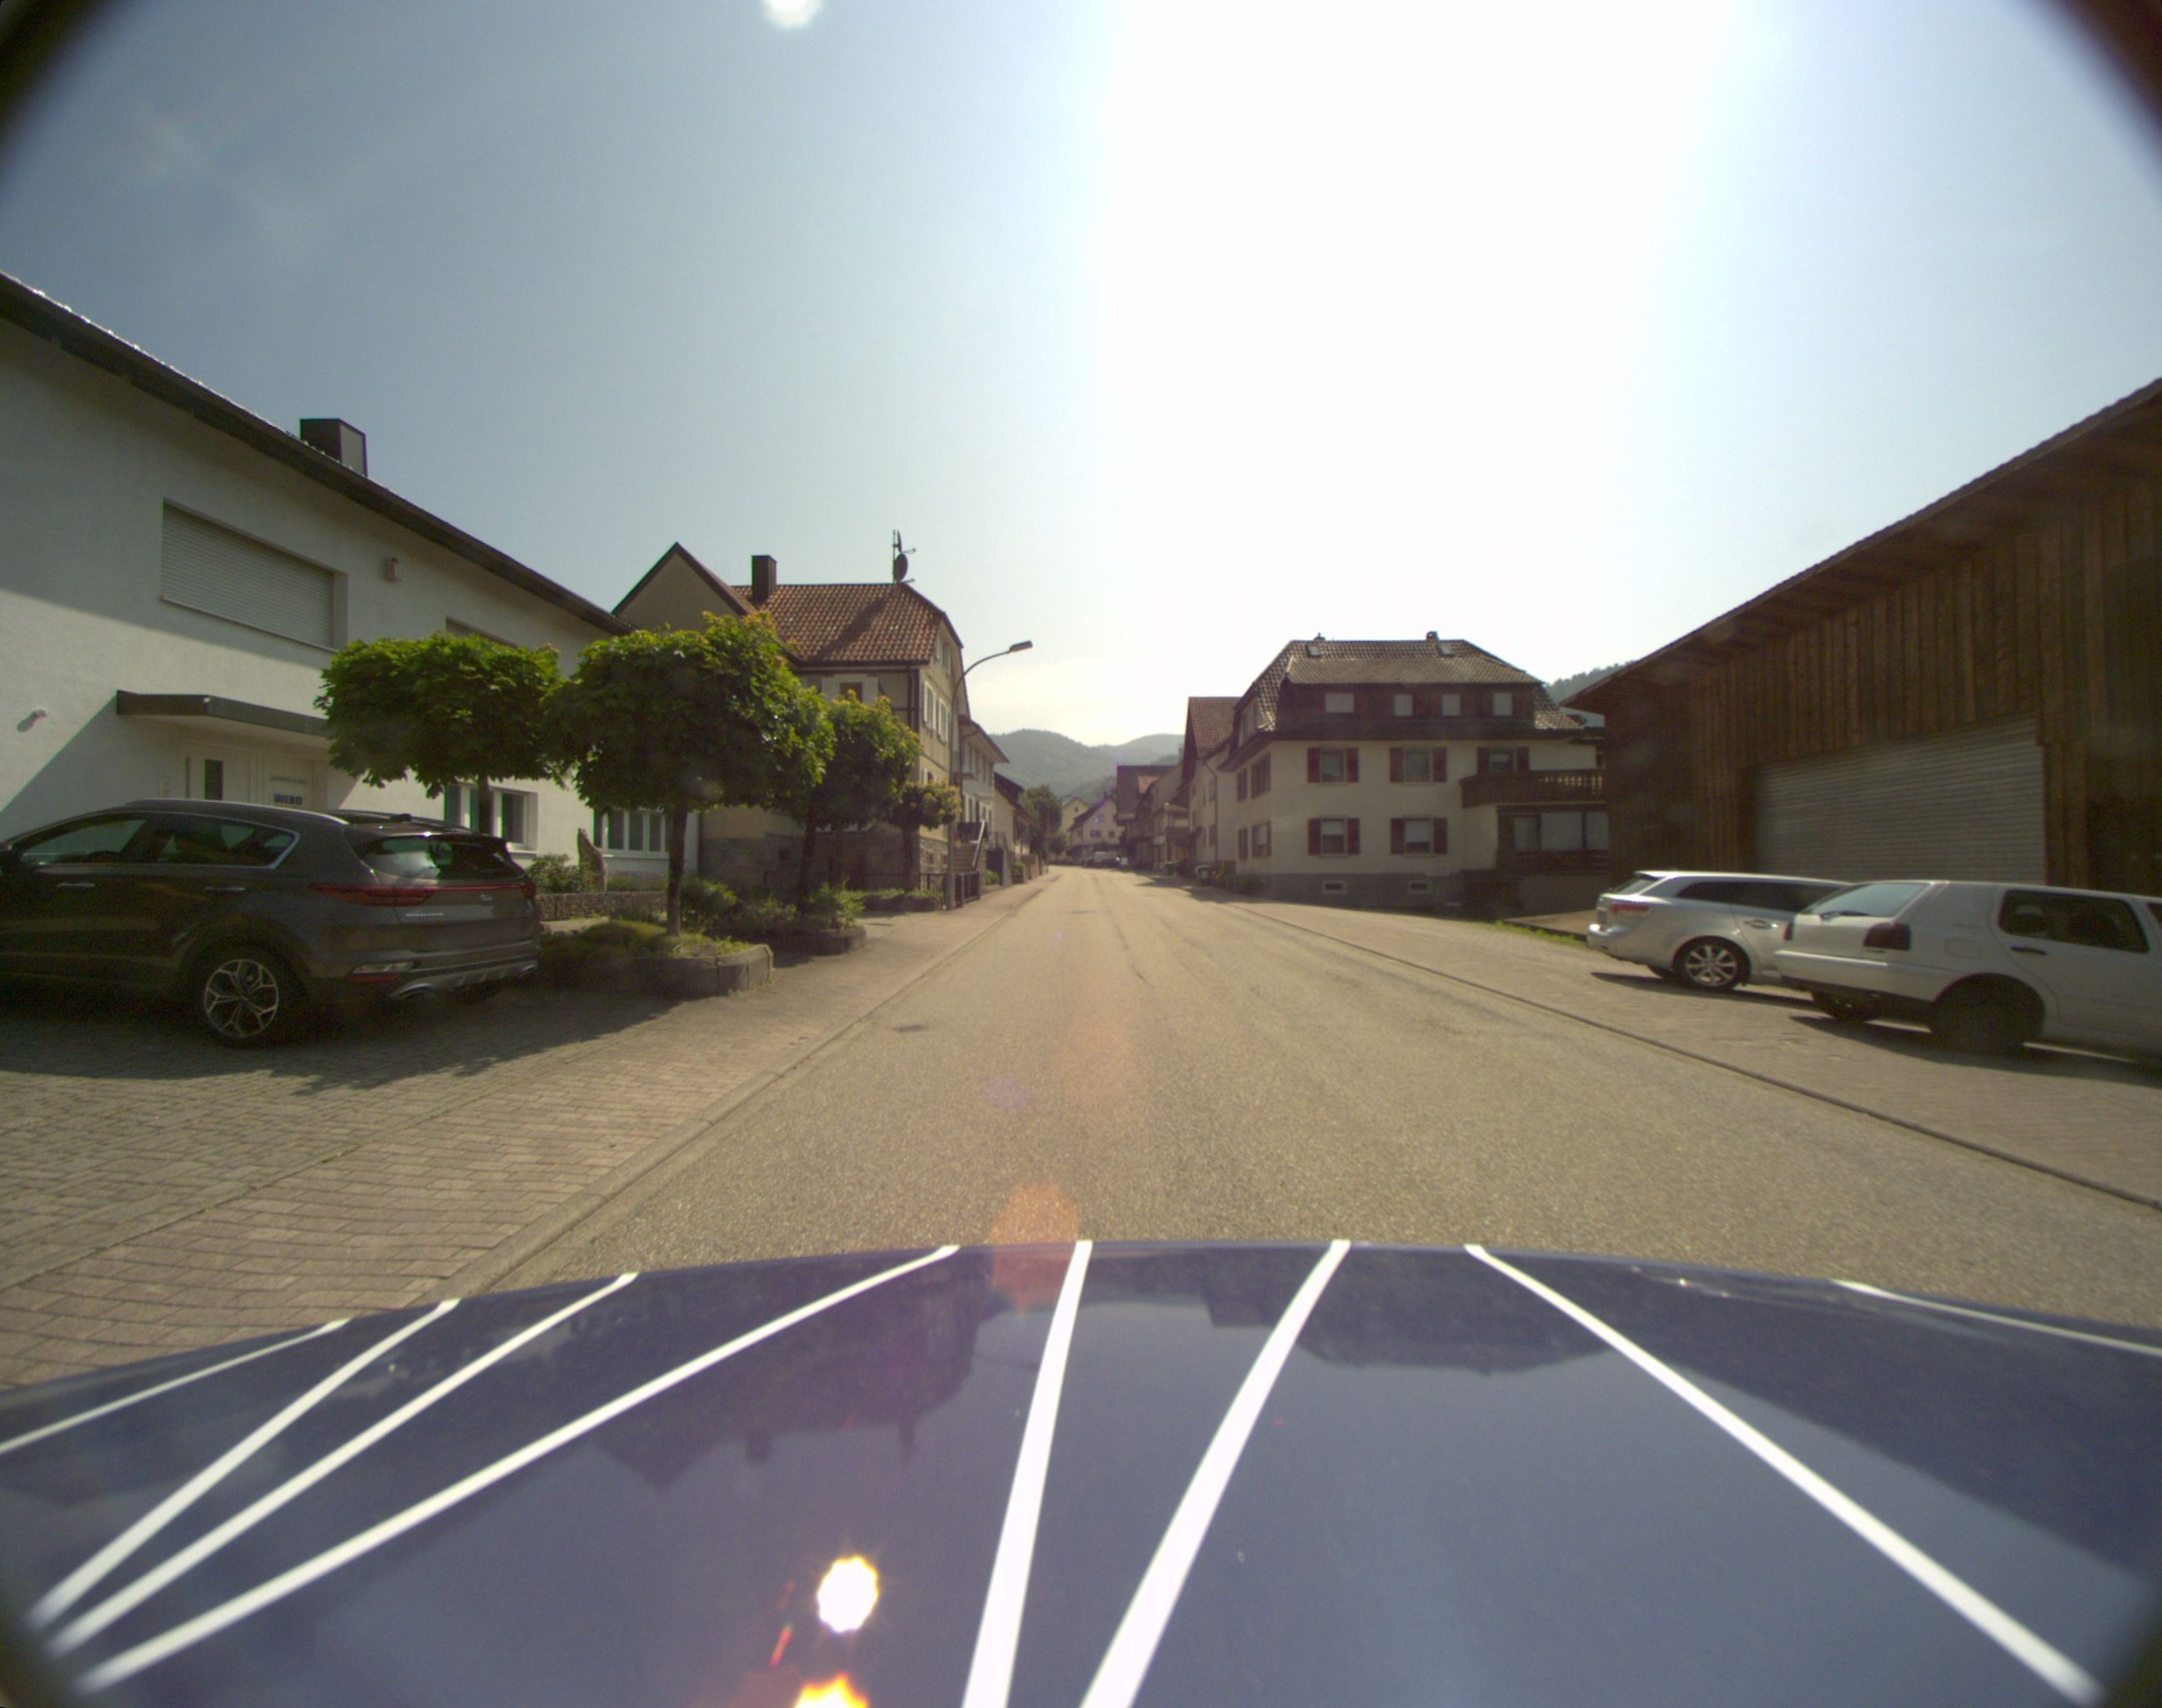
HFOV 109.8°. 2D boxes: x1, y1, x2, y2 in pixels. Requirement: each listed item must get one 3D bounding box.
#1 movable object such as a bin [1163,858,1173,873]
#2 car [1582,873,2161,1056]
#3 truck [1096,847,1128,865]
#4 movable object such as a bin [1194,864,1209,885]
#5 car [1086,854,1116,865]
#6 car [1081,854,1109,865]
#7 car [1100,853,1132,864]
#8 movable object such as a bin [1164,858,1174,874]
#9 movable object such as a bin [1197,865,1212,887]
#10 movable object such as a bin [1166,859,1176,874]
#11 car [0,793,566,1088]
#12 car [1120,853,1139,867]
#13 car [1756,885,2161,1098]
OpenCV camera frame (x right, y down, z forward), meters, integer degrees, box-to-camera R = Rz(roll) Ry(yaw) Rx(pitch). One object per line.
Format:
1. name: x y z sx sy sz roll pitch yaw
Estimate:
1. movable object such as a bin: 6.968 0.944 60.840 0.719 1.174 0.598 1 0 1
2. car: 8.846 1.109 9.126 4.431 1.466 1.928 4 1 26
3. truck: 4.205 0.277 103.971 4.178 2.253 1.999 -1 0 -5
4. movable object such as a bin: 6.239 1.081 39.457 0.677 1.060 0.653 0 1 -1
5. car: 2.843 0.758 107.810 3.998 1.444 1.627 1 0 -4
6. car: 2.106 0.796 110.972 3.996 1.563 1.577 1 0 2
7. car: 4.529 0.578 99.102 4.106 1.494 1.753 0 0 -1
8. movable object such as a bin: 6.949 0.951 60.180 0.719 1.174 0.598 1 0 1
9. movable object such as a bin: 6.213 1.096 38.239 0.677 1.060 0.621 0 1 -1
10. movable object such as a bin: 6.954 0.963 58.871 0.719 1.174 0.598 1 0 1
11. car: -6.730 0.507 5.909 4.230 1.677 1.777 4 1 4
12. car: 5.799 0.722 91.501 1.775 1.544 4.284 -1 0 -2
13. car: 8.370 1.117 6.320 3.663 1.377 1.713 4 1 15
